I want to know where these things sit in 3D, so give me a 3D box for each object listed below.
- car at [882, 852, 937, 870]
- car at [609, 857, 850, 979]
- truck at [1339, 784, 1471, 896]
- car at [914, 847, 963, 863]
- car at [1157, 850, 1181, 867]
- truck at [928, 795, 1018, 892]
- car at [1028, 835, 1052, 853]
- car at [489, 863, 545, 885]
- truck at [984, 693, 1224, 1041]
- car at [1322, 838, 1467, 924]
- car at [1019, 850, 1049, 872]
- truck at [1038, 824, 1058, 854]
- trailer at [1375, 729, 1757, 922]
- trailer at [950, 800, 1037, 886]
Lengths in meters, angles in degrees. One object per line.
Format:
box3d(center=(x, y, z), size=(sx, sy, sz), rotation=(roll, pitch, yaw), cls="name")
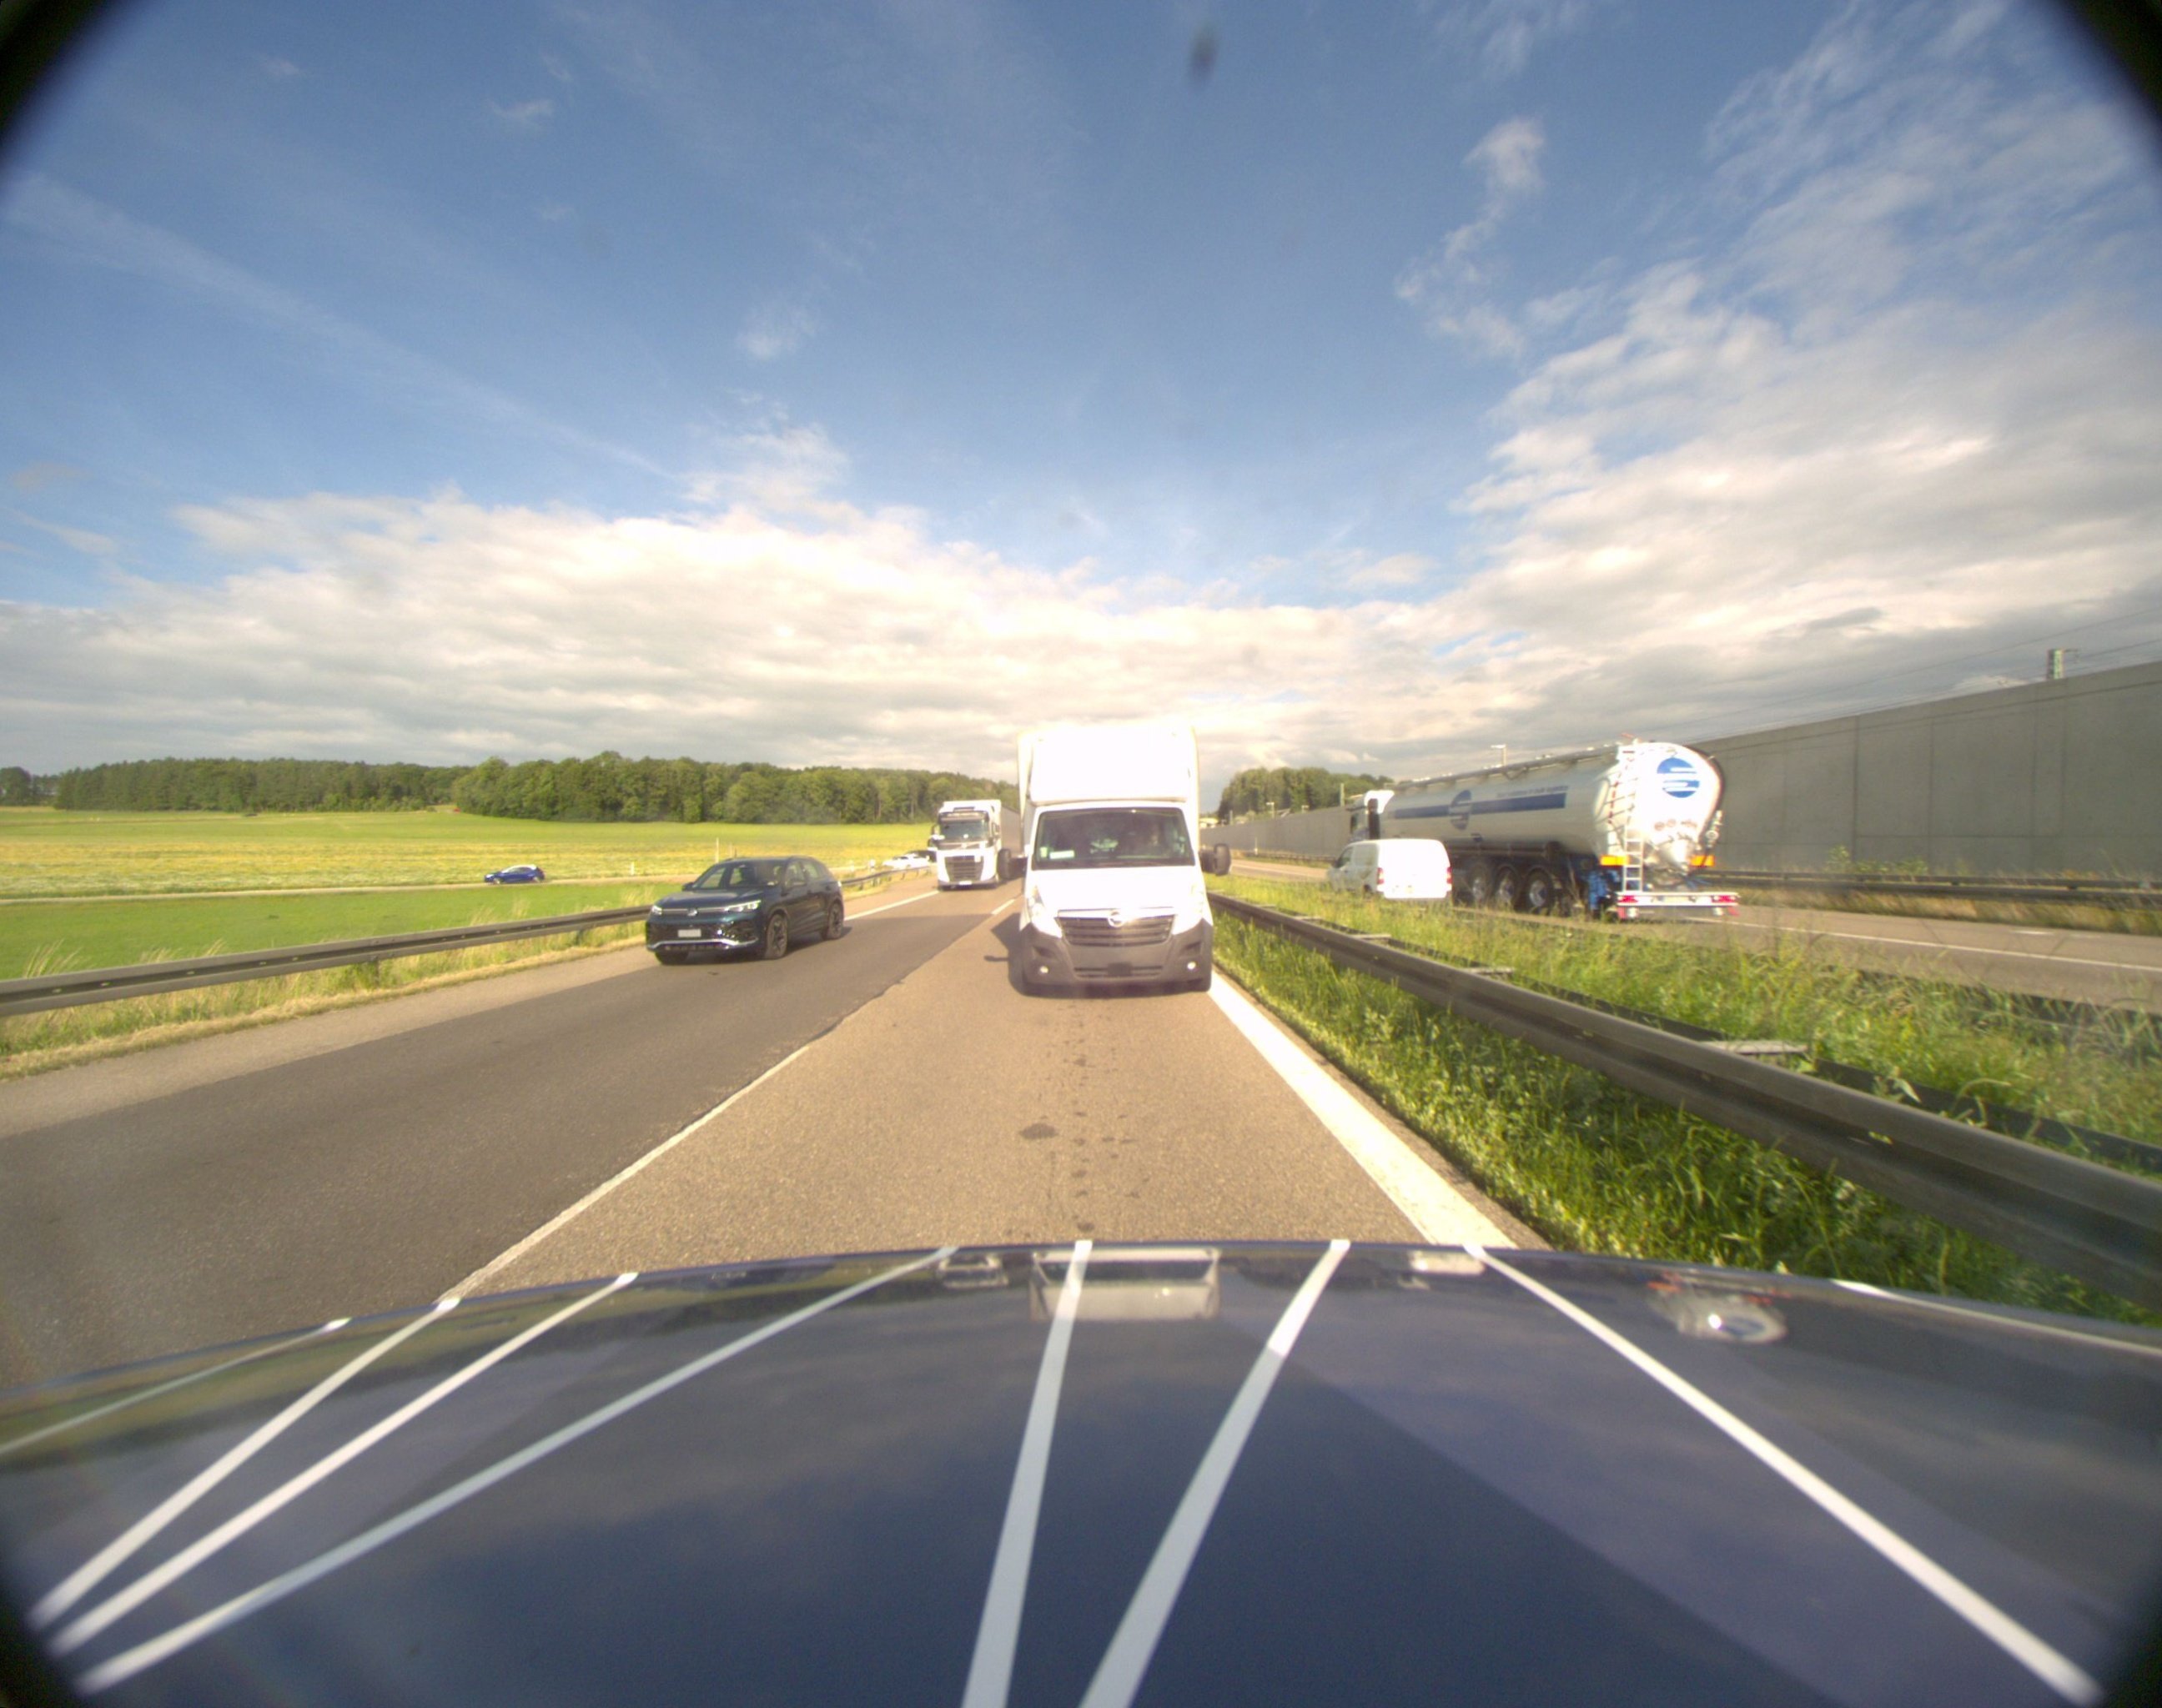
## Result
box3d(center=(-16.299, 0.676, 71.963), size=(5.067, 1.537, 2.003), rotation=(-2, 1, 32), cls="car")
box3d(center=(-5.633, 0.924, 12.880), size=(1.998, 1.587, 4.119), rotation=(-2, 1, 2), cls="car")
box3d(center=(11.876, -0.518, 28.408), size=(2.559, 3.776, 5.415), rotation=(0, 1, -1), cls="truck")
box3d(center=(-15.964, 0.092, 85.376), size=(5.130, 1.548, 1.994), rotation=(-3, 1, -44), cls="car")
box3d(center=(8.567, 0.419, 74.113), size=(1.807, 1.508, 4.690), rotation=(-2, 1, 1), cls="car")
box3d(center=(-4.784, -0.478, 34.950), size=(2.842, 3.967, 6.501), rotation=(-2, 1, 2), cls="truck")
box3d(center=(-3.915, -0.960, 73.530), size=(1.998, 1.647, 3.999), rotation=(-2, 1, 1), cls="car")
box3d(center=(-45.585, 1.578, 61.449), size=(3.567, 1.521, 1.720), rotation=(-3, 1, -37), cls="car")
box3d(center=(0.348, 0.065, 10.786), size=(2.059, 3.088, 7.803), rotation=(-2, 1, 2), cls="truck")
box3d(center=(7.576, 0.564, 18.848), size=(1.864, 1.823, 4.280), rotation=(-2, 1, 1), cls="car")
box3d(center=(-3.779, 0.532, 61.782), size=(1.998, 1.647, 3.999), rotation=(-2, 1, 1), cls="car")
box3d(center=(-4.234, -1.957, 98.025), size=(1.998, 3.663, 5.931), rotation=(-2, 1, 1), cls="truck")
box3d(center=(11.872, -0.652, 21.083), size=(2.547, 3.749, 12.538), rotation=(0, 1, 0), cls="trailer")
box3d(center=(-4.500, -0.594, 41.931), size=(2.826, 3.959, 12.127), rotation=(-2, 1, 2), cls="trailer")
